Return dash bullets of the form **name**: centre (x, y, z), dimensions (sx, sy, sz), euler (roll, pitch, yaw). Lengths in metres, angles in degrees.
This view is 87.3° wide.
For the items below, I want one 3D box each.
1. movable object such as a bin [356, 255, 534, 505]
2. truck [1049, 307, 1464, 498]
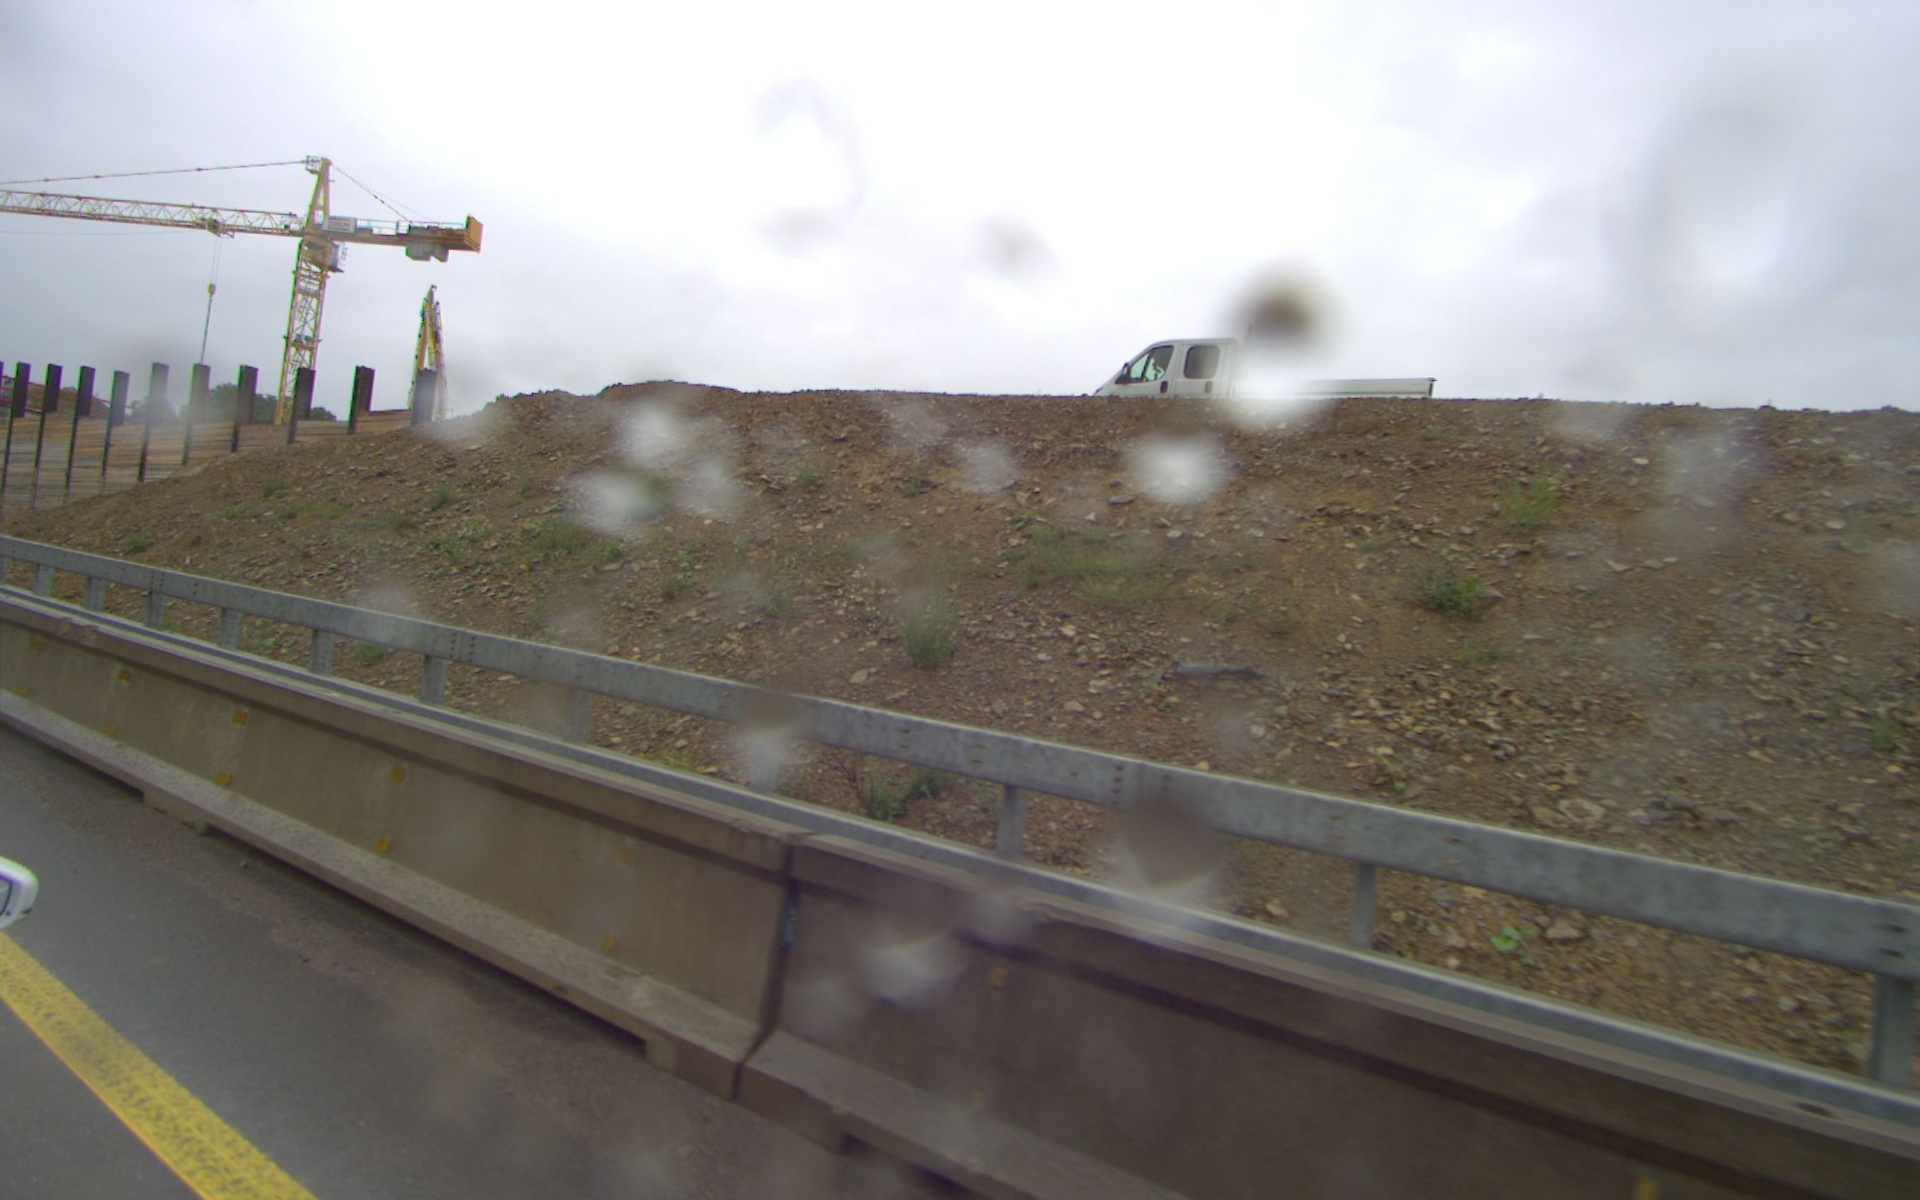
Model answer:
- **movable object such as a bin**: centre (-27.553, -11.060, 53.485), dimensions (4.705, 10.969, 10.178), euler (6, -2, -44)
- **truck**: centre (5.428, -3.450, 18.834), dimensions (6.868, 2.584, 2.650), euler (4, -2, 30)
